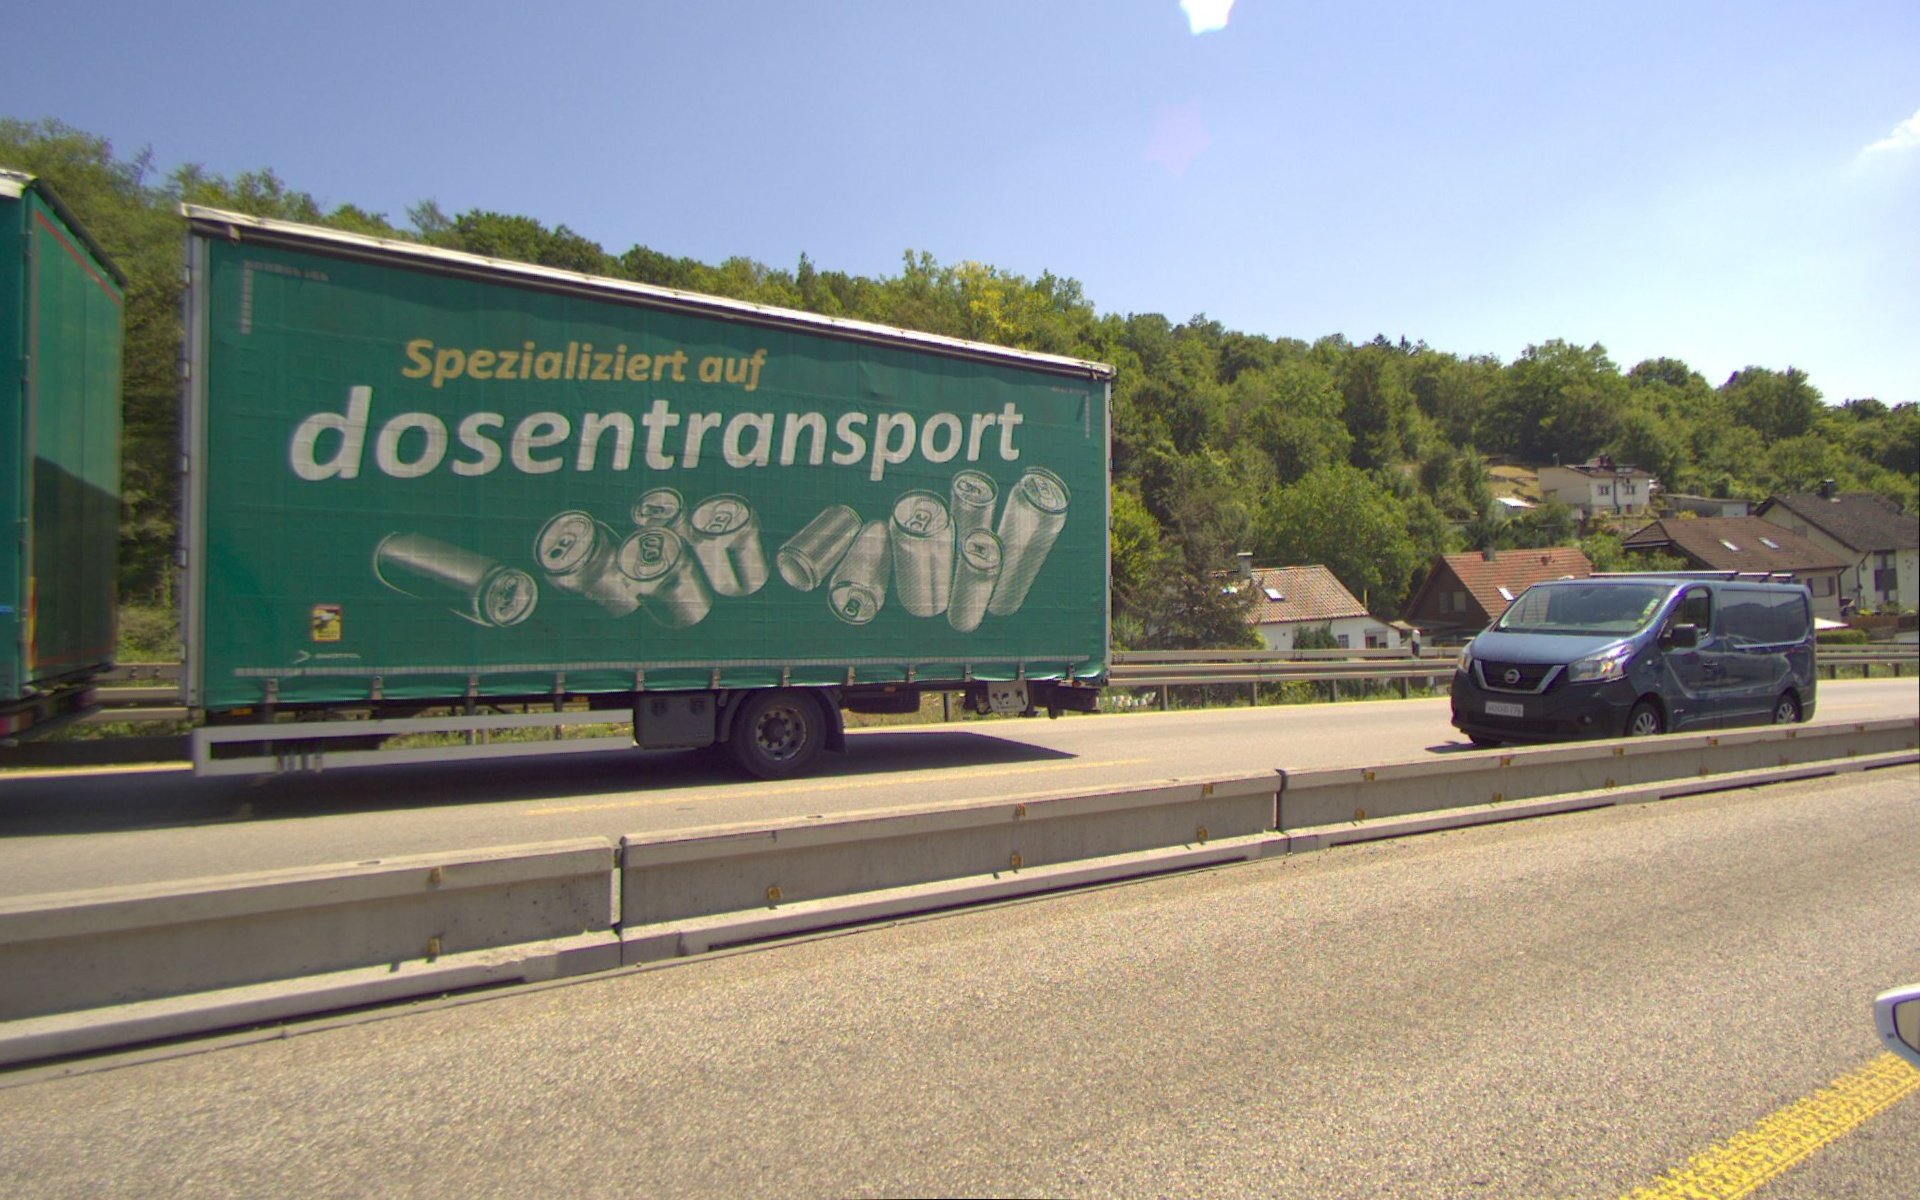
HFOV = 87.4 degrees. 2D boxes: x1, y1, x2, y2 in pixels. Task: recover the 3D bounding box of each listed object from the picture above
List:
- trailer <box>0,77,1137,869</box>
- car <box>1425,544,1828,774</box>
[{"bbox_3d":[-5.143,-0.697,7.939,14.410,4.703,2.820,2,-1,-30],"label":"trailer"},{"bbox_3d":[7.811,0.652,11.674,4.776,2.202,1.984,2,-1,-30],"label":"car"}]
